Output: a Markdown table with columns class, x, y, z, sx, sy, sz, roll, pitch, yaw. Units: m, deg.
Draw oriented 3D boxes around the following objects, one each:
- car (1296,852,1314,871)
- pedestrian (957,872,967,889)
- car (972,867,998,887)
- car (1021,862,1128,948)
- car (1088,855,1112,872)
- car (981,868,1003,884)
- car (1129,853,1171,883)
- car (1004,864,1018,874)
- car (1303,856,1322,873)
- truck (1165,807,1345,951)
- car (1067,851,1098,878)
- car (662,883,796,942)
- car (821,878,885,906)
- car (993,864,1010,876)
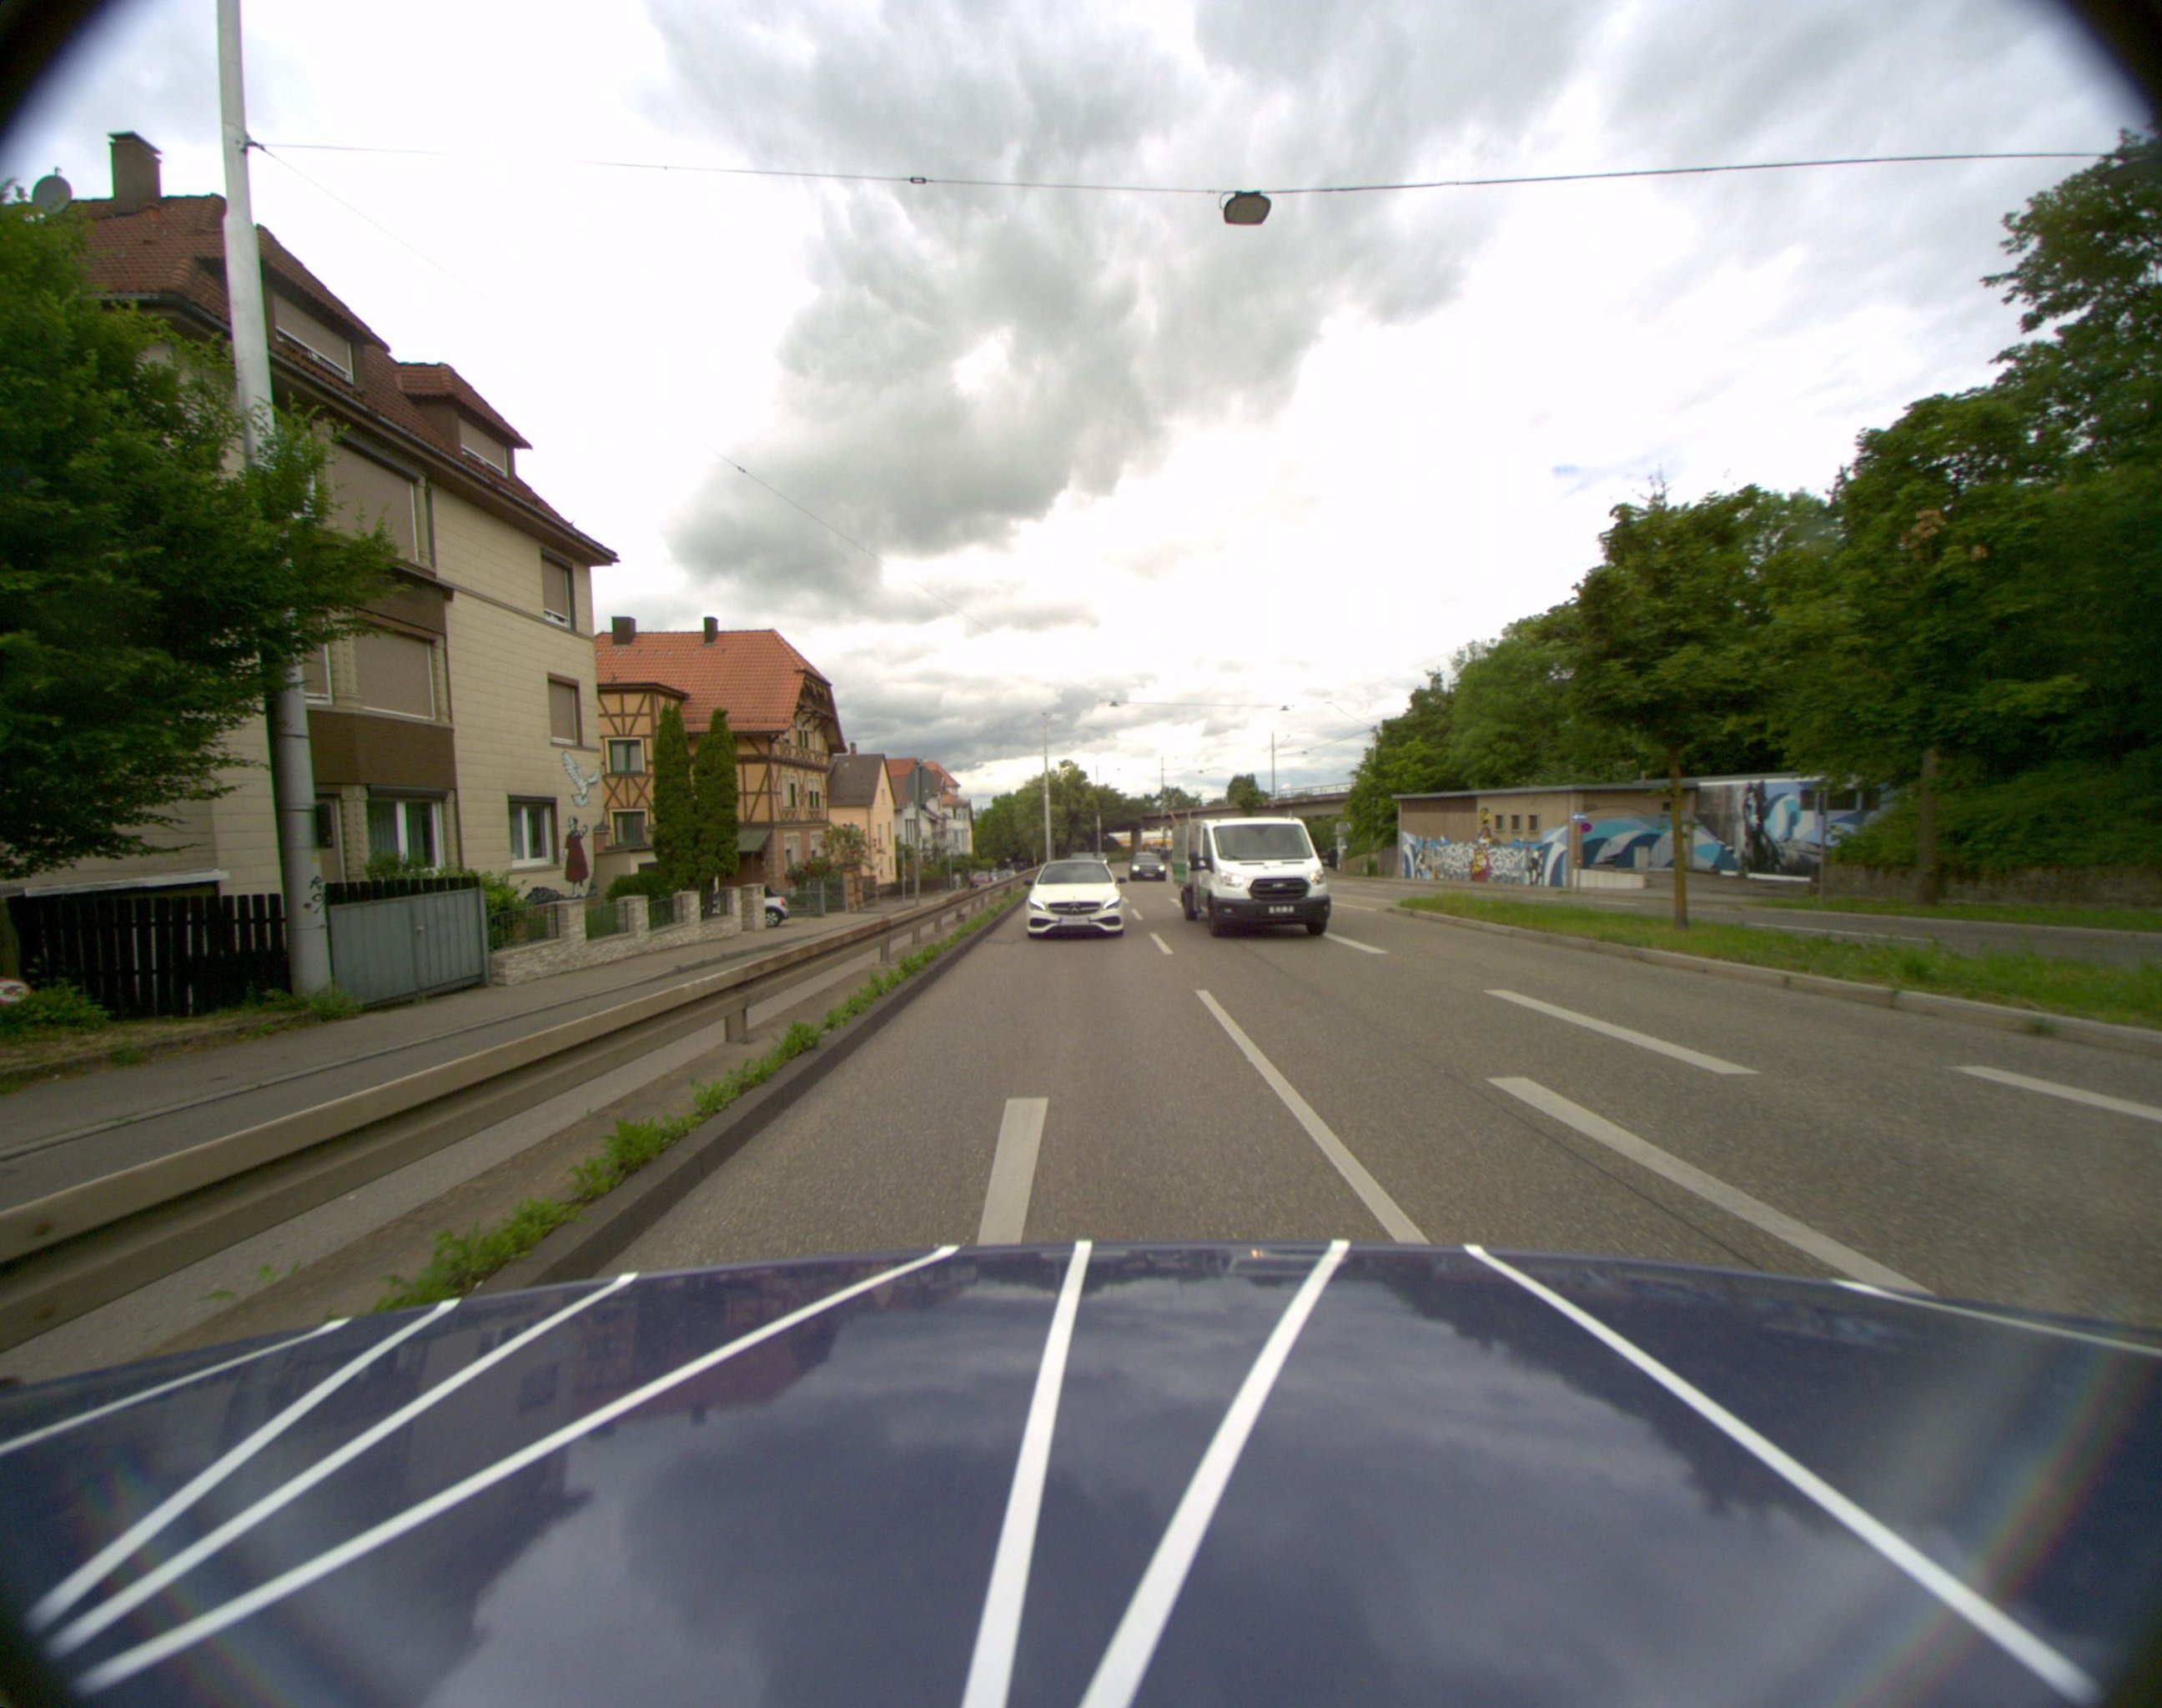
| class | x | y | z | sx | sy | sz | roll | pitch | yaw |
| --- | --- | --- | --- | --- | --- | --- | --- | --- | --- |
| car | 22.629 | 0.735 | 76.687 | 1.634 | 1.793 | 4.005 | -3 | 0 | 16 |
| pedestrian | -10.305 | 2.315 | 65.968 | 0.713 | 1.462 | 0.695 | -3 | 0 | -2 |
| car | -8.697 | 2.104 | 69.018 | 1.923 | 1.641 | 3.999 | -3 | 0 | -2 |
| car | -0.079 | 0.904 | 15.204 | 1.817 | 1.390 | 4.000 | -2 | 0 | 1 |
| car | 1.678 | 0.780 | 66.078 | 1.777 | 1.390 | 4.002 | -3 | 0 | 6 |
| car | -9.223 | 2.295 | 78.753 | 1.923 | 1.490 | 3.999 | -3 | 0 | -2 |
| car | 3.743 | 0.749 | 41.905 | 1.916 | 1.472 | 4.400 | -3 | 0 | 0 |
| car | -10.740 | 2.301 | 116.614 | 1.851 | 1.354 | 3.999 | -3 | 0 | -2 |
| car | 21.545 | 0.963 | 70.780 | 1.634 | 1.411 | 4.005 | -3 | 0 | 16 |
| truck | 3.189 | 0.369 | 15.525 | 2.081 | 2.308 | 6.330 | -1 | 1 | -1 |
| car | 0.109 | 0.625 | 46.546 | 1.777 | 1.532 | 4.000 | -3 | 0 | 0 |
| car | -11.698 | 1.905 | 25.496 | 3.800 | 1.396 | 1.544 | -7 | 1 | -19 |
| car | -15.100 | 2.505 | 50.426 | 3.797 | 1.554 | 1.546 | -3 | 0 | -6 |
| car | -9.910 | 1.962 | 94.890 | 1.851 | 1.354 | 3.999 | -2 | 0 | -2 |
